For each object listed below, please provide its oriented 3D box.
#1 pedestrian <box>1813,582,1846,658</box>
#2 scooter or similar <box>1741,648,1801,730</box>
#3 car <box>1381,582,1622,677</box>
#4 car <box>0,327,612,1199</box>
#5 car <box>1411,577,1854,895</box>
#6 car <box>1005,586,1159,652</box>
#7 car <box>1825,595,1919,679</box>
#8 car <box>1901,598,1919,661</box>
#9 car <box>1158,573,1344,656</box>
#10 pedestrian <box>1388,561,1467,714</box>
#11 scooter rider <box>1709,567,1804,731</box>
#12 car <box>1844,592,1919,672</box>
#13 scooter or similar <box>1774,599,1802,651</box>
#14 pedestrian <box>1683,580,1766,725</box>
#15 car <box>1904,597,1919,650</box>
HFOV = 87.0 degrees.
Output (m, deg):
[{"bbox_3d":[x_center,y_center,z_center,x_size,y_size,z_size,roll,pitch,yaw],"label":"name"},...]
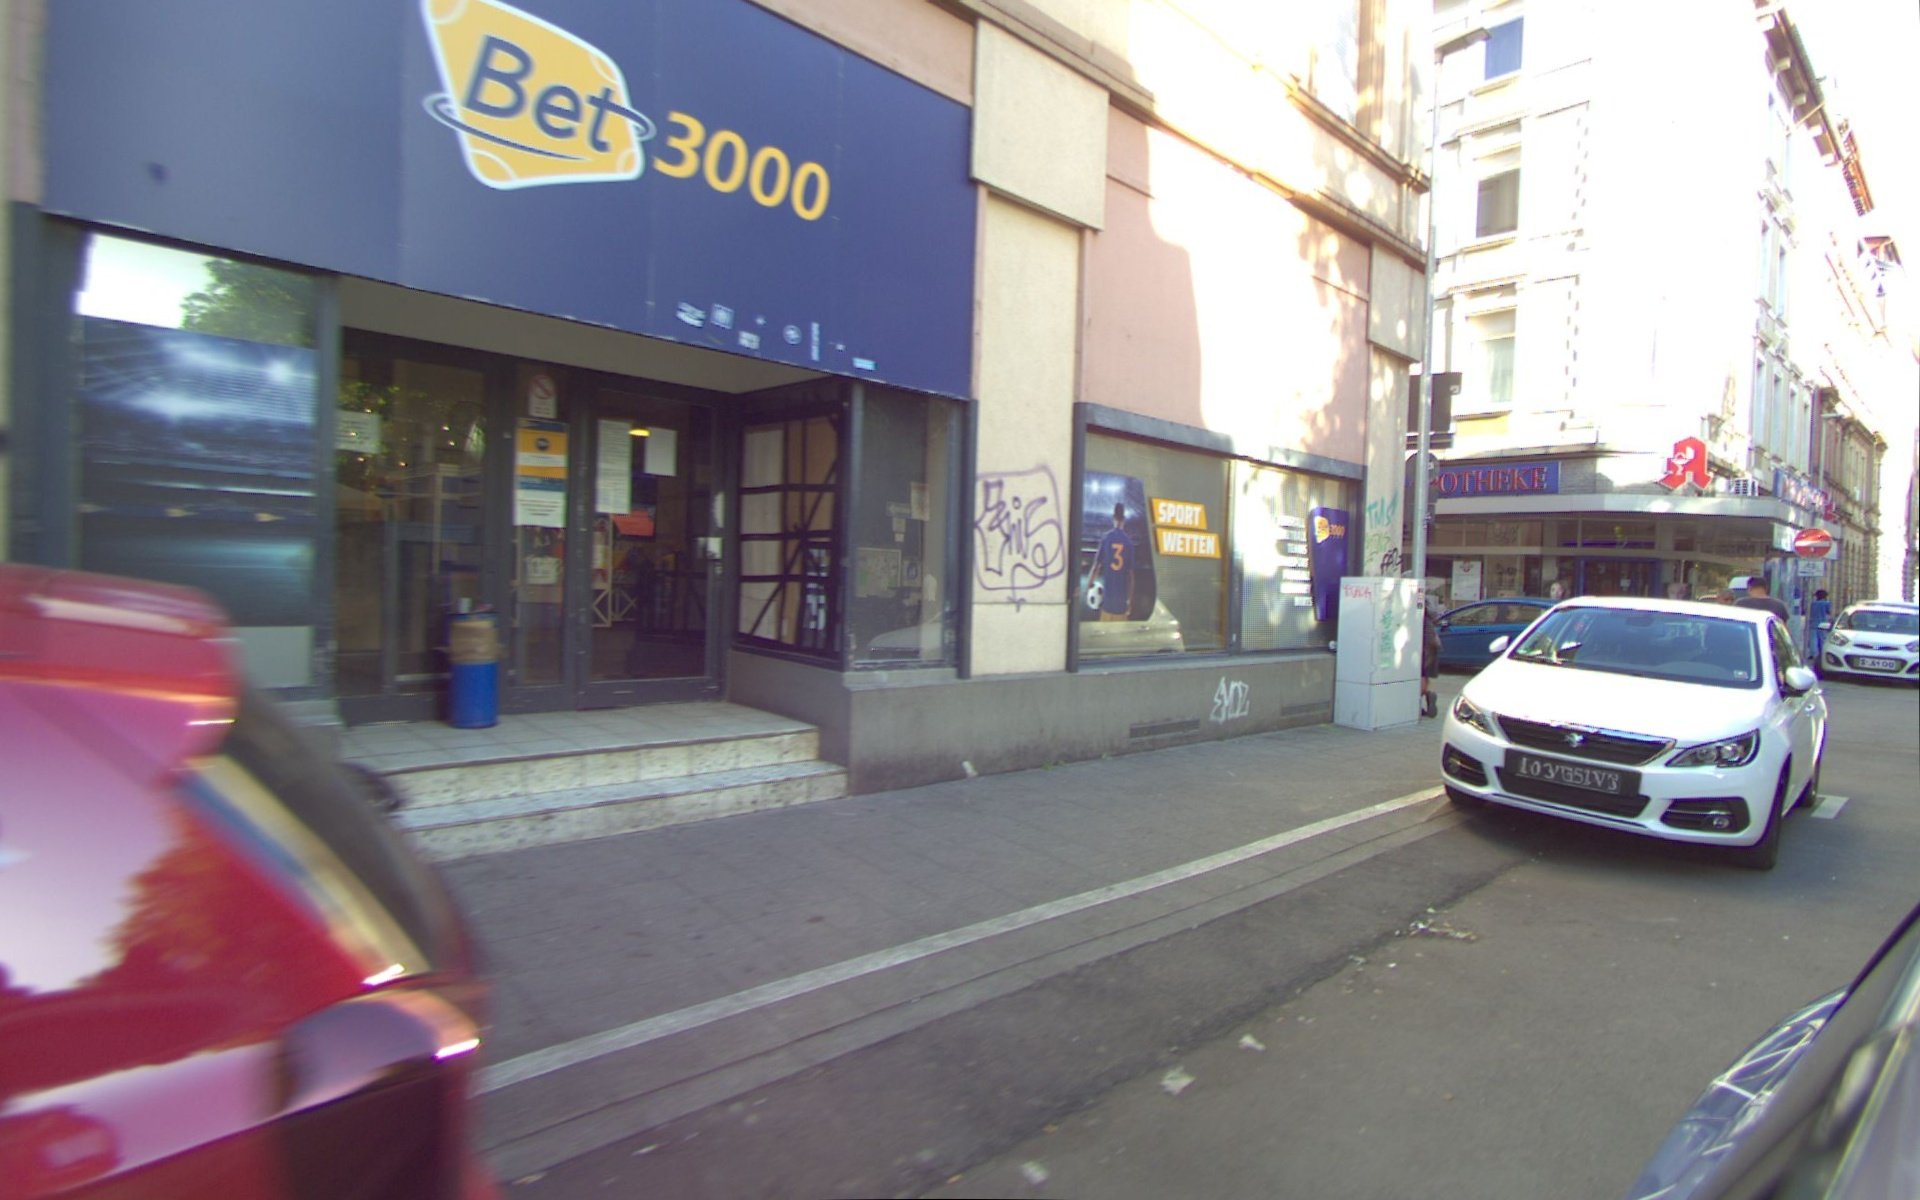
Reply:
[{"bbox_3d":[22.263,0.497,25.906,0.521,1.917,0.562,0,1,-43],"label":"pedestrian"},{"bbox_3d":[9.191,0.988,11.461,0.910,0.839,0.394,0,1,-42],"label":"scooter or similar"},{"bbox_3d":[10.054,0.464,18.956,1.758,1.504,3.579,0,2,-42],"label":"car"},{"bbox_3d":[-2.199,0.580,0.510,3.494,1.592,1.608,0,1,-43],"label":"car"},{"bbox_3d":[4.828,0.631,7.006,1.788,1.535,4.070,1,1,45],"label":"car"},{"bbox_3d":[3.123,0.426,26.521,1.533,1.473,3.984,0,2,-42],"label":"car"},{"bbox_3d":[18.238,0.661,19.848,1.690,1.481,3.582,1,1,44],"label":"car"},{"bbox_3d":[25.840,0.755,26.401,4.129,1.545,1.556,-1,1,-43],"label":"car"},{"bbox_3d":[6.478,0.246,22.783,1.602,1.650,3.741,-1,3,-42],"label":"car"},{"bbox_3d":[5.287,0.414,11.462,0.455,1.671,0.602,3,0,-11],"label":"pedestrian"},{"bbox_3d":[9.000,0.534,11.460,0.554,1.800,0.612,0,1,-3],"label":"scooter rider"},{"bbox_3d":[21.632,0.666,23.206,3.997,1.671,1.701,-1,1,-44],"label":"car"},{"bbox_3d":[21.270,0.618,25.993,1.019,1.296,0.395,0,1,-43],"label":"scooter or similar"},{"bbox_3d":[9.028,0.602,11.960,0.555,1.659,0.528,1,1,2],"label":"pedestrian"},{"bbox_3d":[32.699,0.755,33.345,4.486,1.667,1.996,-1,1,-42],"label":"car"}]
